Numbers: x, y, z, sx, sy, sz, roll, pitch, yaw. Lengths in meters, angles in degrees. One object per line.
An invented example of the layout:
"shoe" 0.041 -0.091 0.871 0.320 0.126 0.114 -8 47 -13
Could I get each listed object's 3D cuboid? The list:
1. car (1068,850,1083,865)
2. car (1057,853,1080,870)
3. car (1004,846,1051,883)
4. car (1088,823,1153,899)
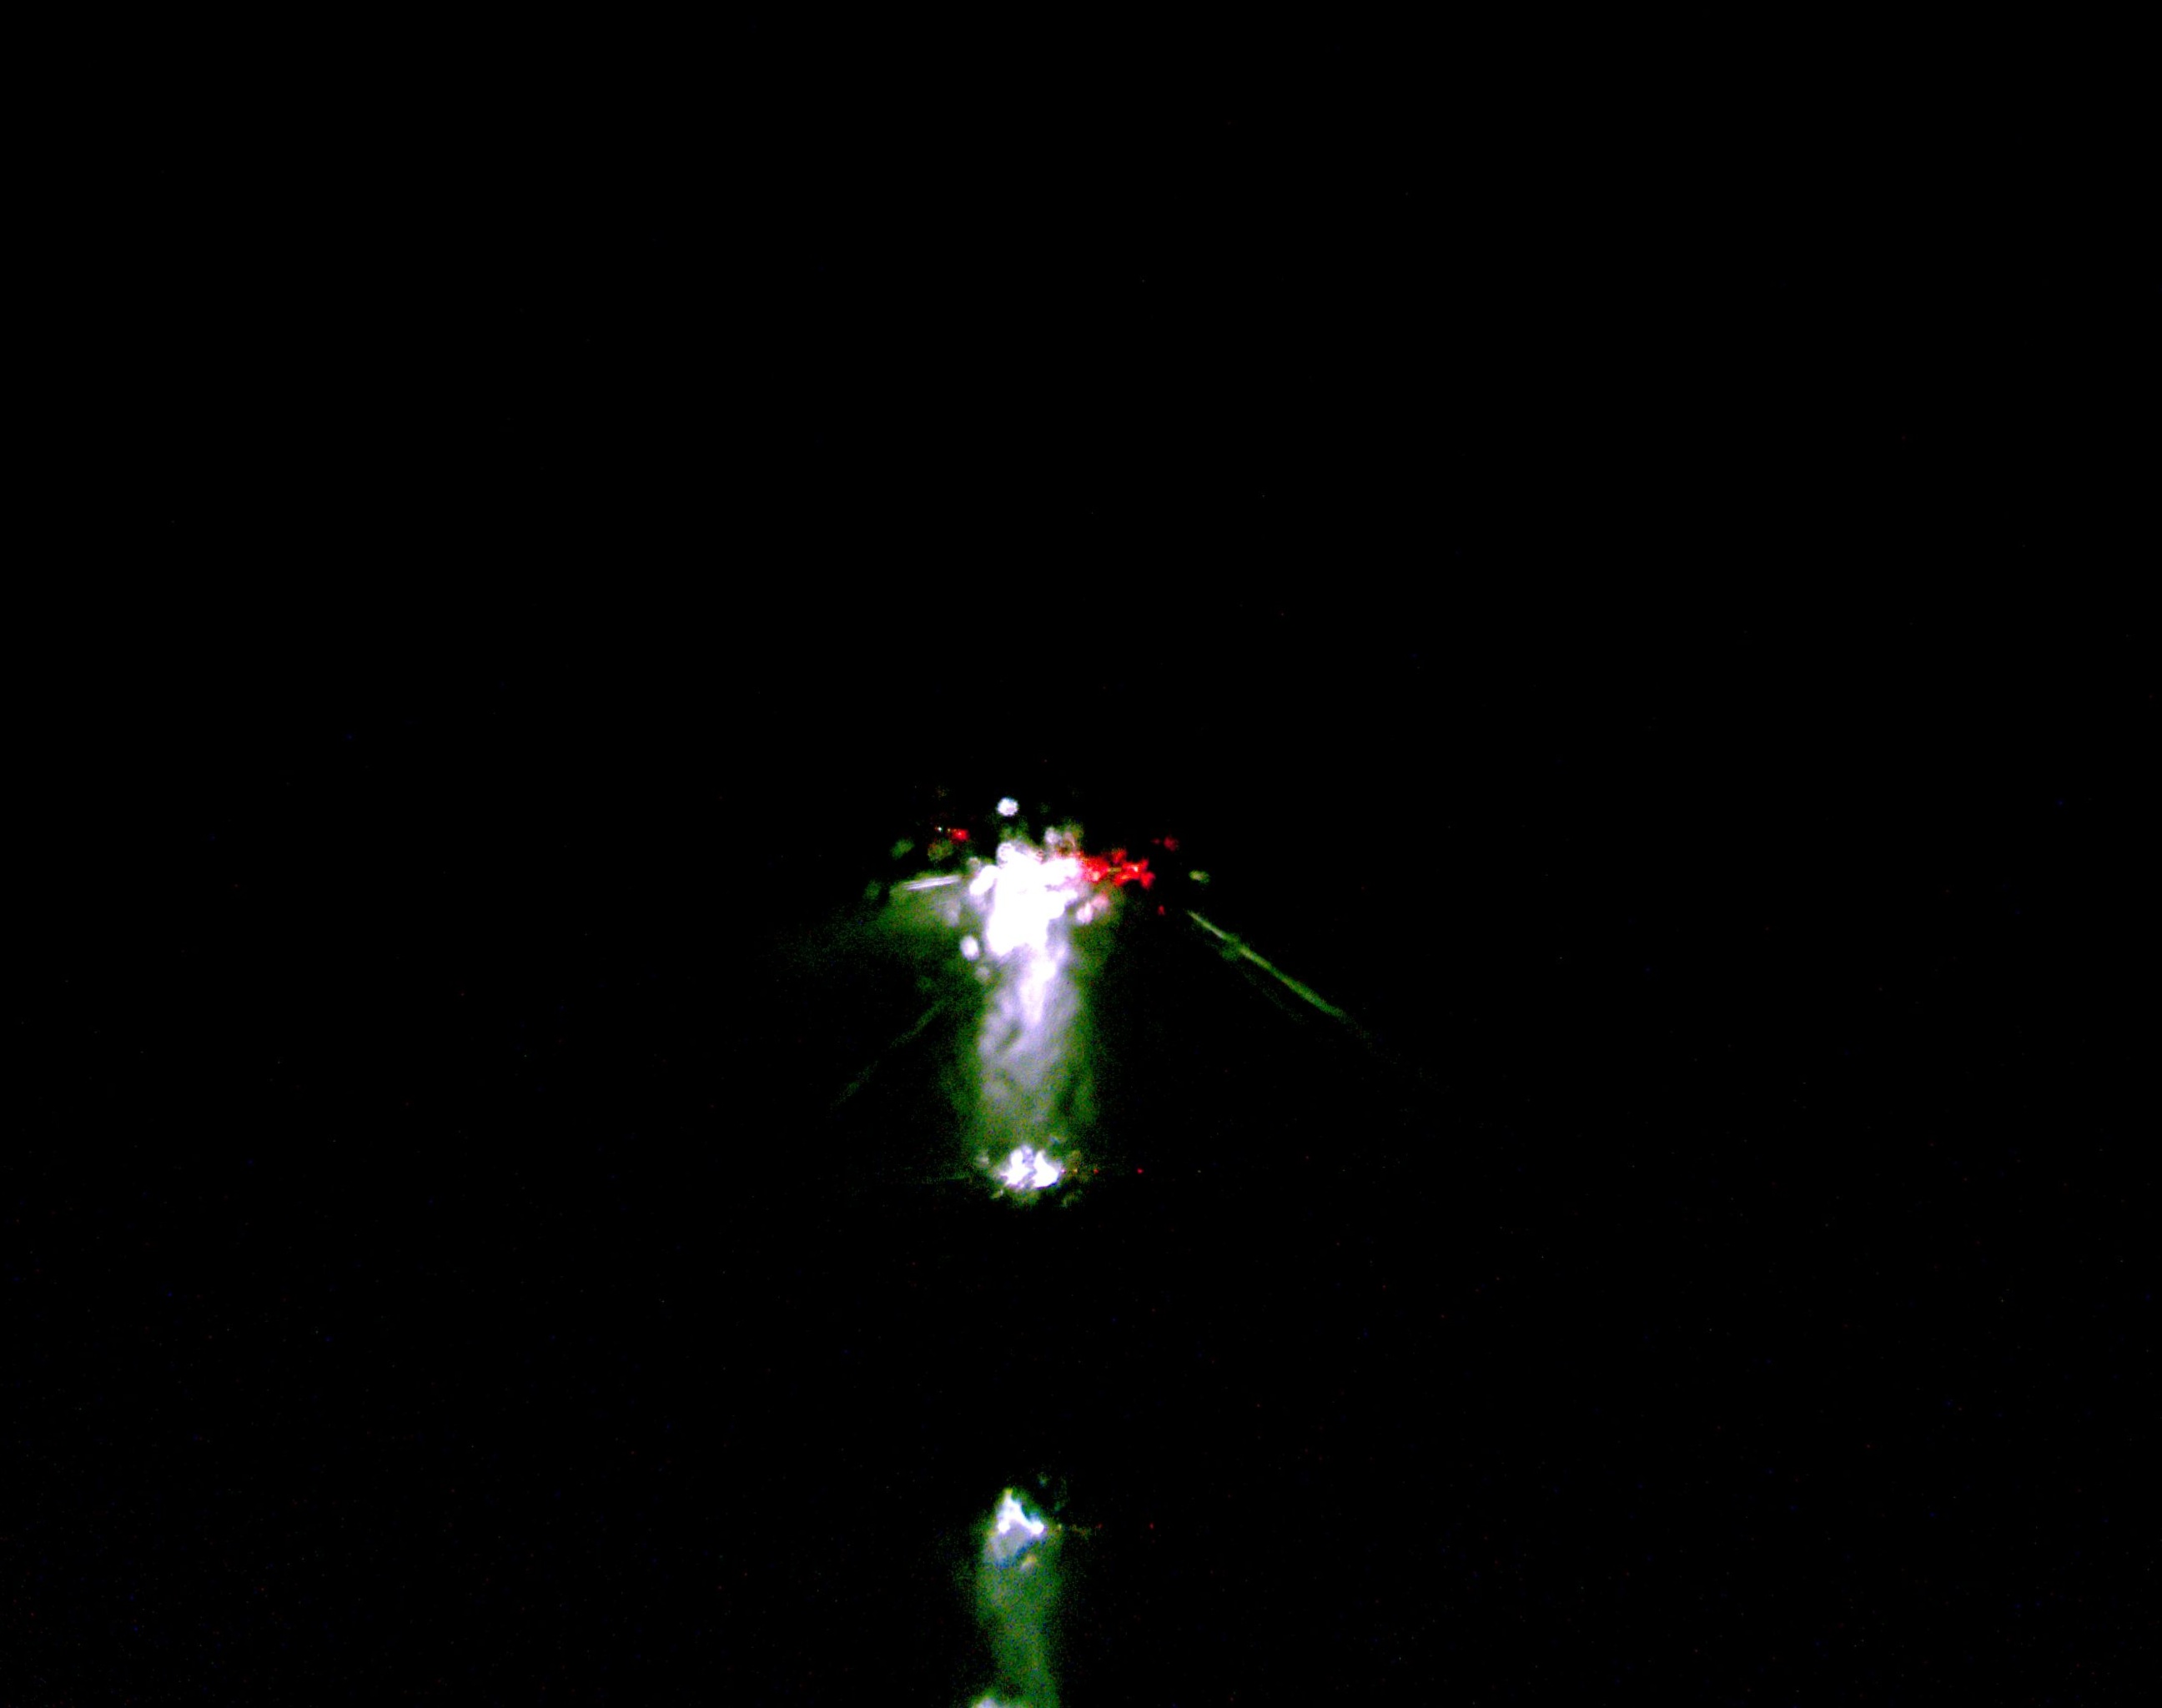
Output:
"car" -0.803 0.525 124.350 1.986 2.013 4.001 -6 0 1
"car" -1.202 0.737 80.214 1.911 1.471 4.577 -3 -1 3
"car" -2.363 0.446 36.805 1.766 1.510 3.691 -2 1 2
"car" 1.397 0.154 29.579 2.173 2.557 4.510 0 2 2
